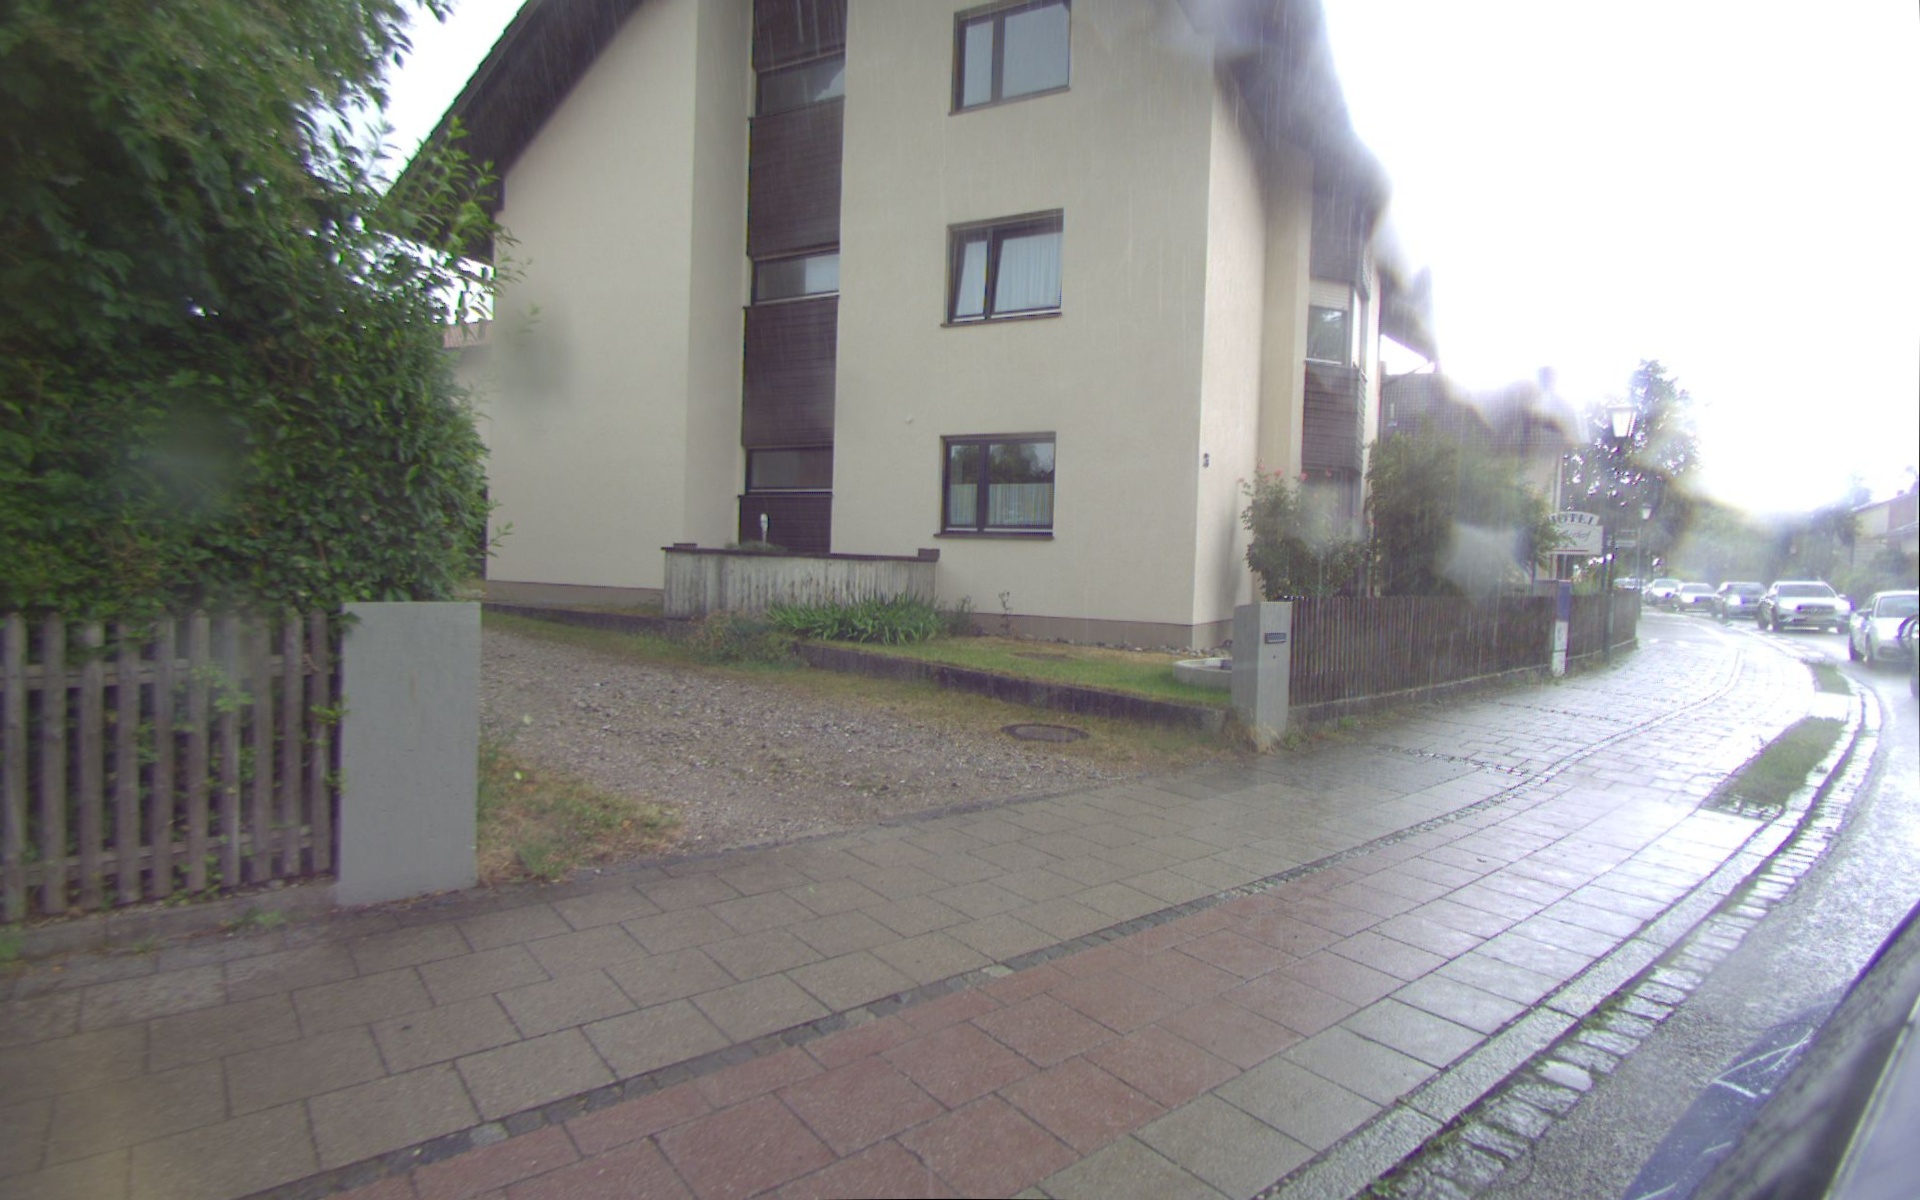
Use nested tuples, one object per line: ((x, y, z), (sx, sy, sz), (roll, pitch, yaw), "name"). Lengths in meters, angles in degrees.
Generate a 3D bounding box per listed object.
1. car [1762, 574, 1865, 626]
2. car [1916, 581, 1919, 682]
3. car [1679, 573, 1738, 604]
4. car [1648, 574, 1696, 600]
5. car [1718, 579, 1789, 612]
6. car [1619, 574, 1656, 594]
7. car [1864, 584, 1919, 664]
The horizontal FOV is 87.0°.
((27.772, -0.026, 33.063), (1.779, 1.568, 4.237), (0, 0, 29), "car")
((13.727, 0.488, 13.031), (1.787, 1.498, 5.306), (0, 1, 41), "car")
((39.190, -0.594, 53.070), (1.777, 1.568, 4.242), (0, 0, 27), "car")
((44.514, -0.791, 63.374), (1.777, 1.568, 4.243), (0, 0, 26), "car")
((34.642, -0.210, 44.276), (1.779, 1.391, 4.237), (0, 1, 29), "car")
((53.583, -1.274, 80.110), (1.777, 1.568, 4.243), (0, 0, 26), "car")
((18.385, 0.398, 19.164), (1.787, 1.412, 4.218), (0, 1, 41), "car")
